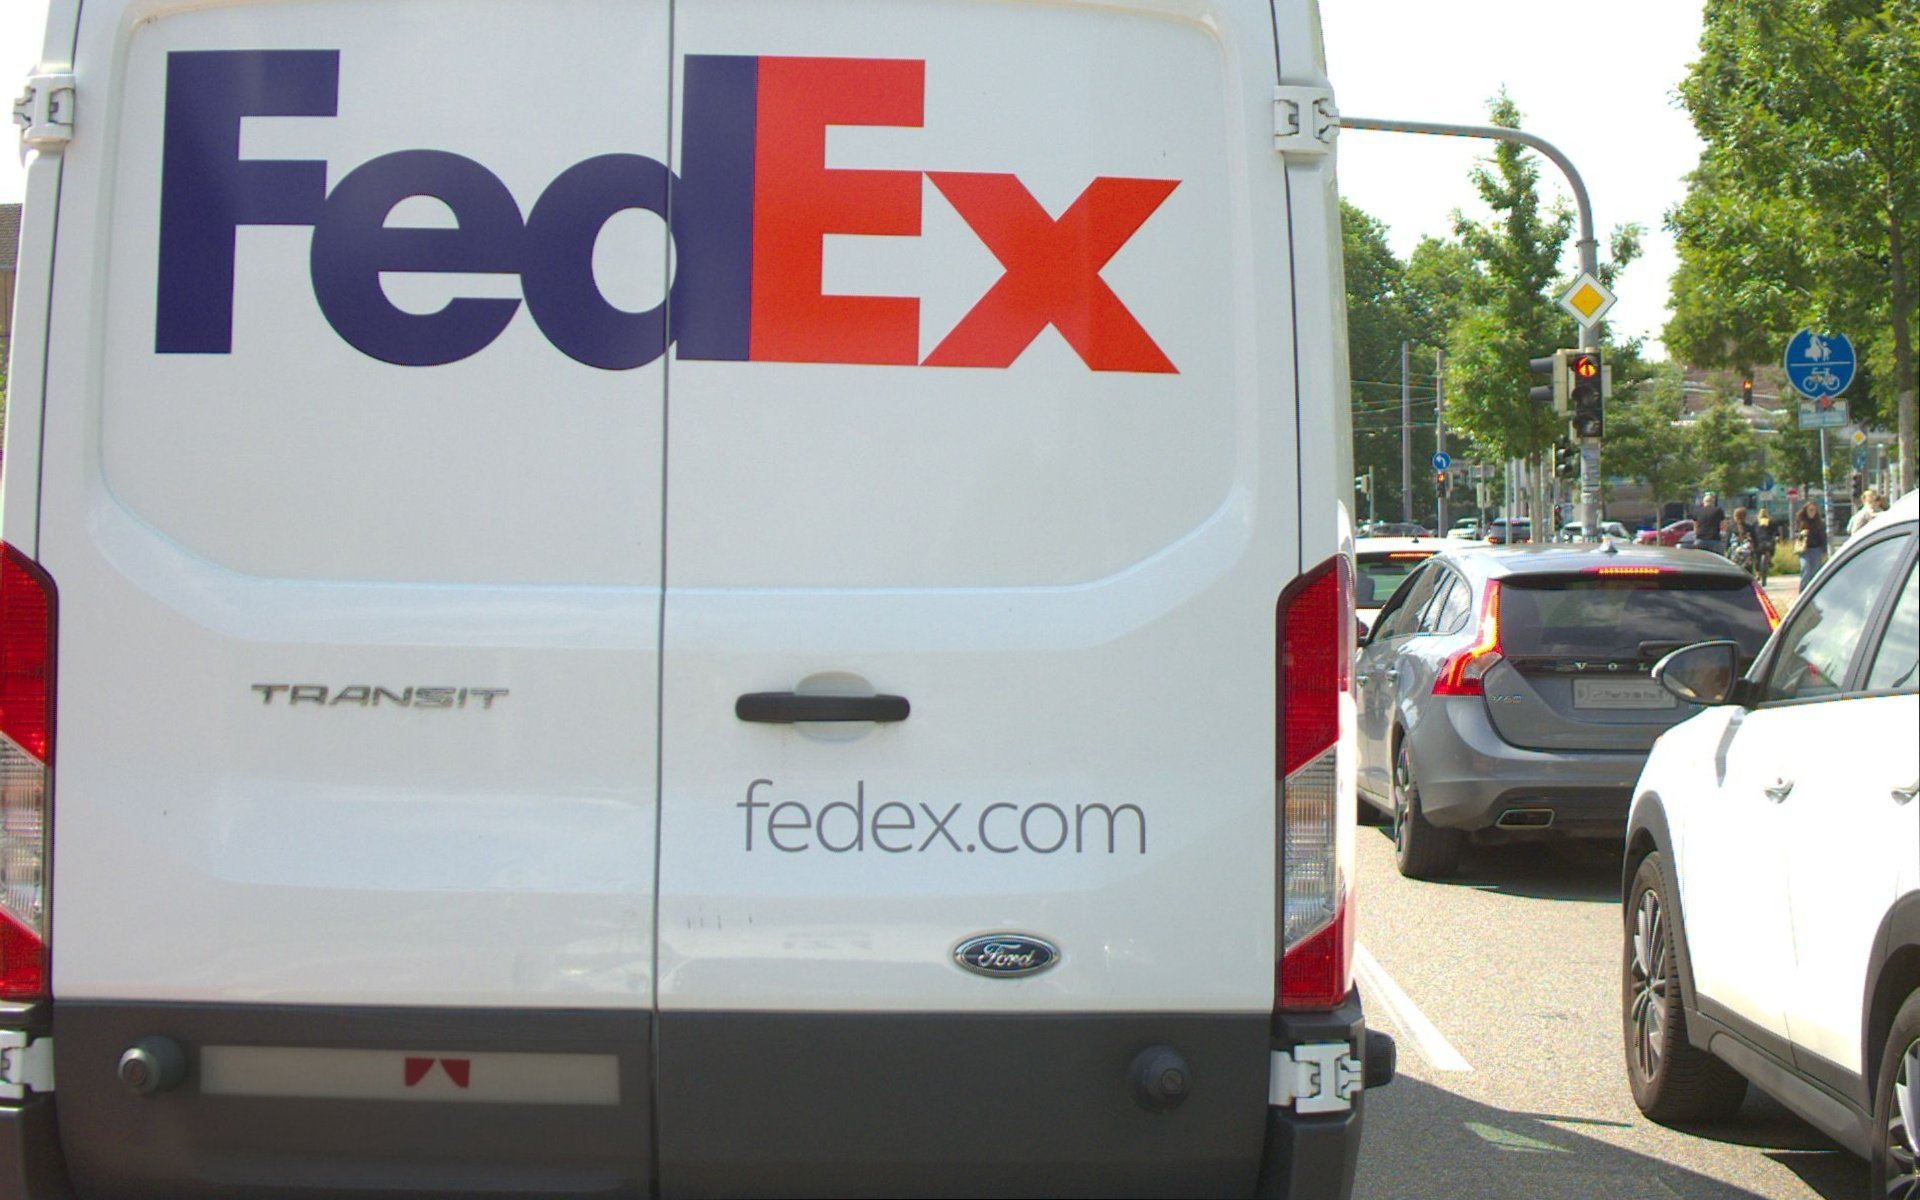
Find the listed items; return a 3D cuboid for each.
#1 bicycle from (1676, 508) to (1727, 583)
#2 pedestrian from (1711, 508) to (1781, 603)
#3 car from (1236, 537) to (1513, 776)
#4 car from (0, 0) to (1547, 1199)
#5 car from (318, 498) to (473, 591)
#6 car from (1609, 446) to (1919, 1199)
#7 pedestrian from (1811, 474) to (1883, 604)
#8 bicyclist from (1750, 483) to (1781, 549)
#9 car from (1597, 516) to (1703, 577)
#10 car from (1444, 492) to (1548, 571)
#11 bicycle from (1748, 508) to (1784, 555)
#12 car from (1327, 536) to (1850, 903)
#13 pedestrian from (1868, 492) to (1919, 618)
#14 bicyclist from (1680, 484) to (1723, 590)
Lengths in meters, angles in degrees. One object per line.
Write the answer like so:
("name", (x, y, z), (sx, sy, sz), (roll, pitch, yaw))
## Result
("bicycle", (13.021, -0.968, 60.345), (0.603, 1.285, 2.069), (0, 2, 20))
("pedestrian", (11.504, -0.655, 50.359), (0.845, 1.384, 0.741), (0, 1, -1))
("car", (2.665, 0.313, 22.655), (1.484, 1.423, 3.433), (0, 1, 1))
("car", (-0.470, 0.039, 7.108), (2.140, 2.643, 5.705), (0, 1, -3))
("car", (-12.658, -1.241, 77.344), (1.995, 2.007, 3.998), (0, 1, 14))
("car", (2.601, 0.535, 7.244), (1.798, 1.681, 4.000), (0, 1, 1))
("pedestrian", (14.087, -0.974, 54.595), (0.844, 2.051, 0.741), (-1, 1, -18))
("bicyclist", (18.066, -1.882, 77.123), (0.550, 1.469, 0.971), (0, 1, 5))
("car", (20.834, -1.601, 103.647), (1.996, 1.787, 4.365), (0, 1, 27))
("car", (14.191, -1.796, 90.854), (2.094, 2.007, 4.640), (0, 1, 17))
("bicycle", (18.051, -1.537, 77.055), (0.546, 1.027, 1.926), (0, 1, 6))
("car", (2.759, 0.451, 15.891), (1.798, 1.456, 3.838), (0, 1, 1))
("pedestrian", (15.211, -0.733, 55.592), (0.845, 2.007, 0.741), (0, 1, -1))
("bicyclist", (12.992, -1.116, 60.220), (0.592, 1.838, 1.122), (0, 2, 20))
